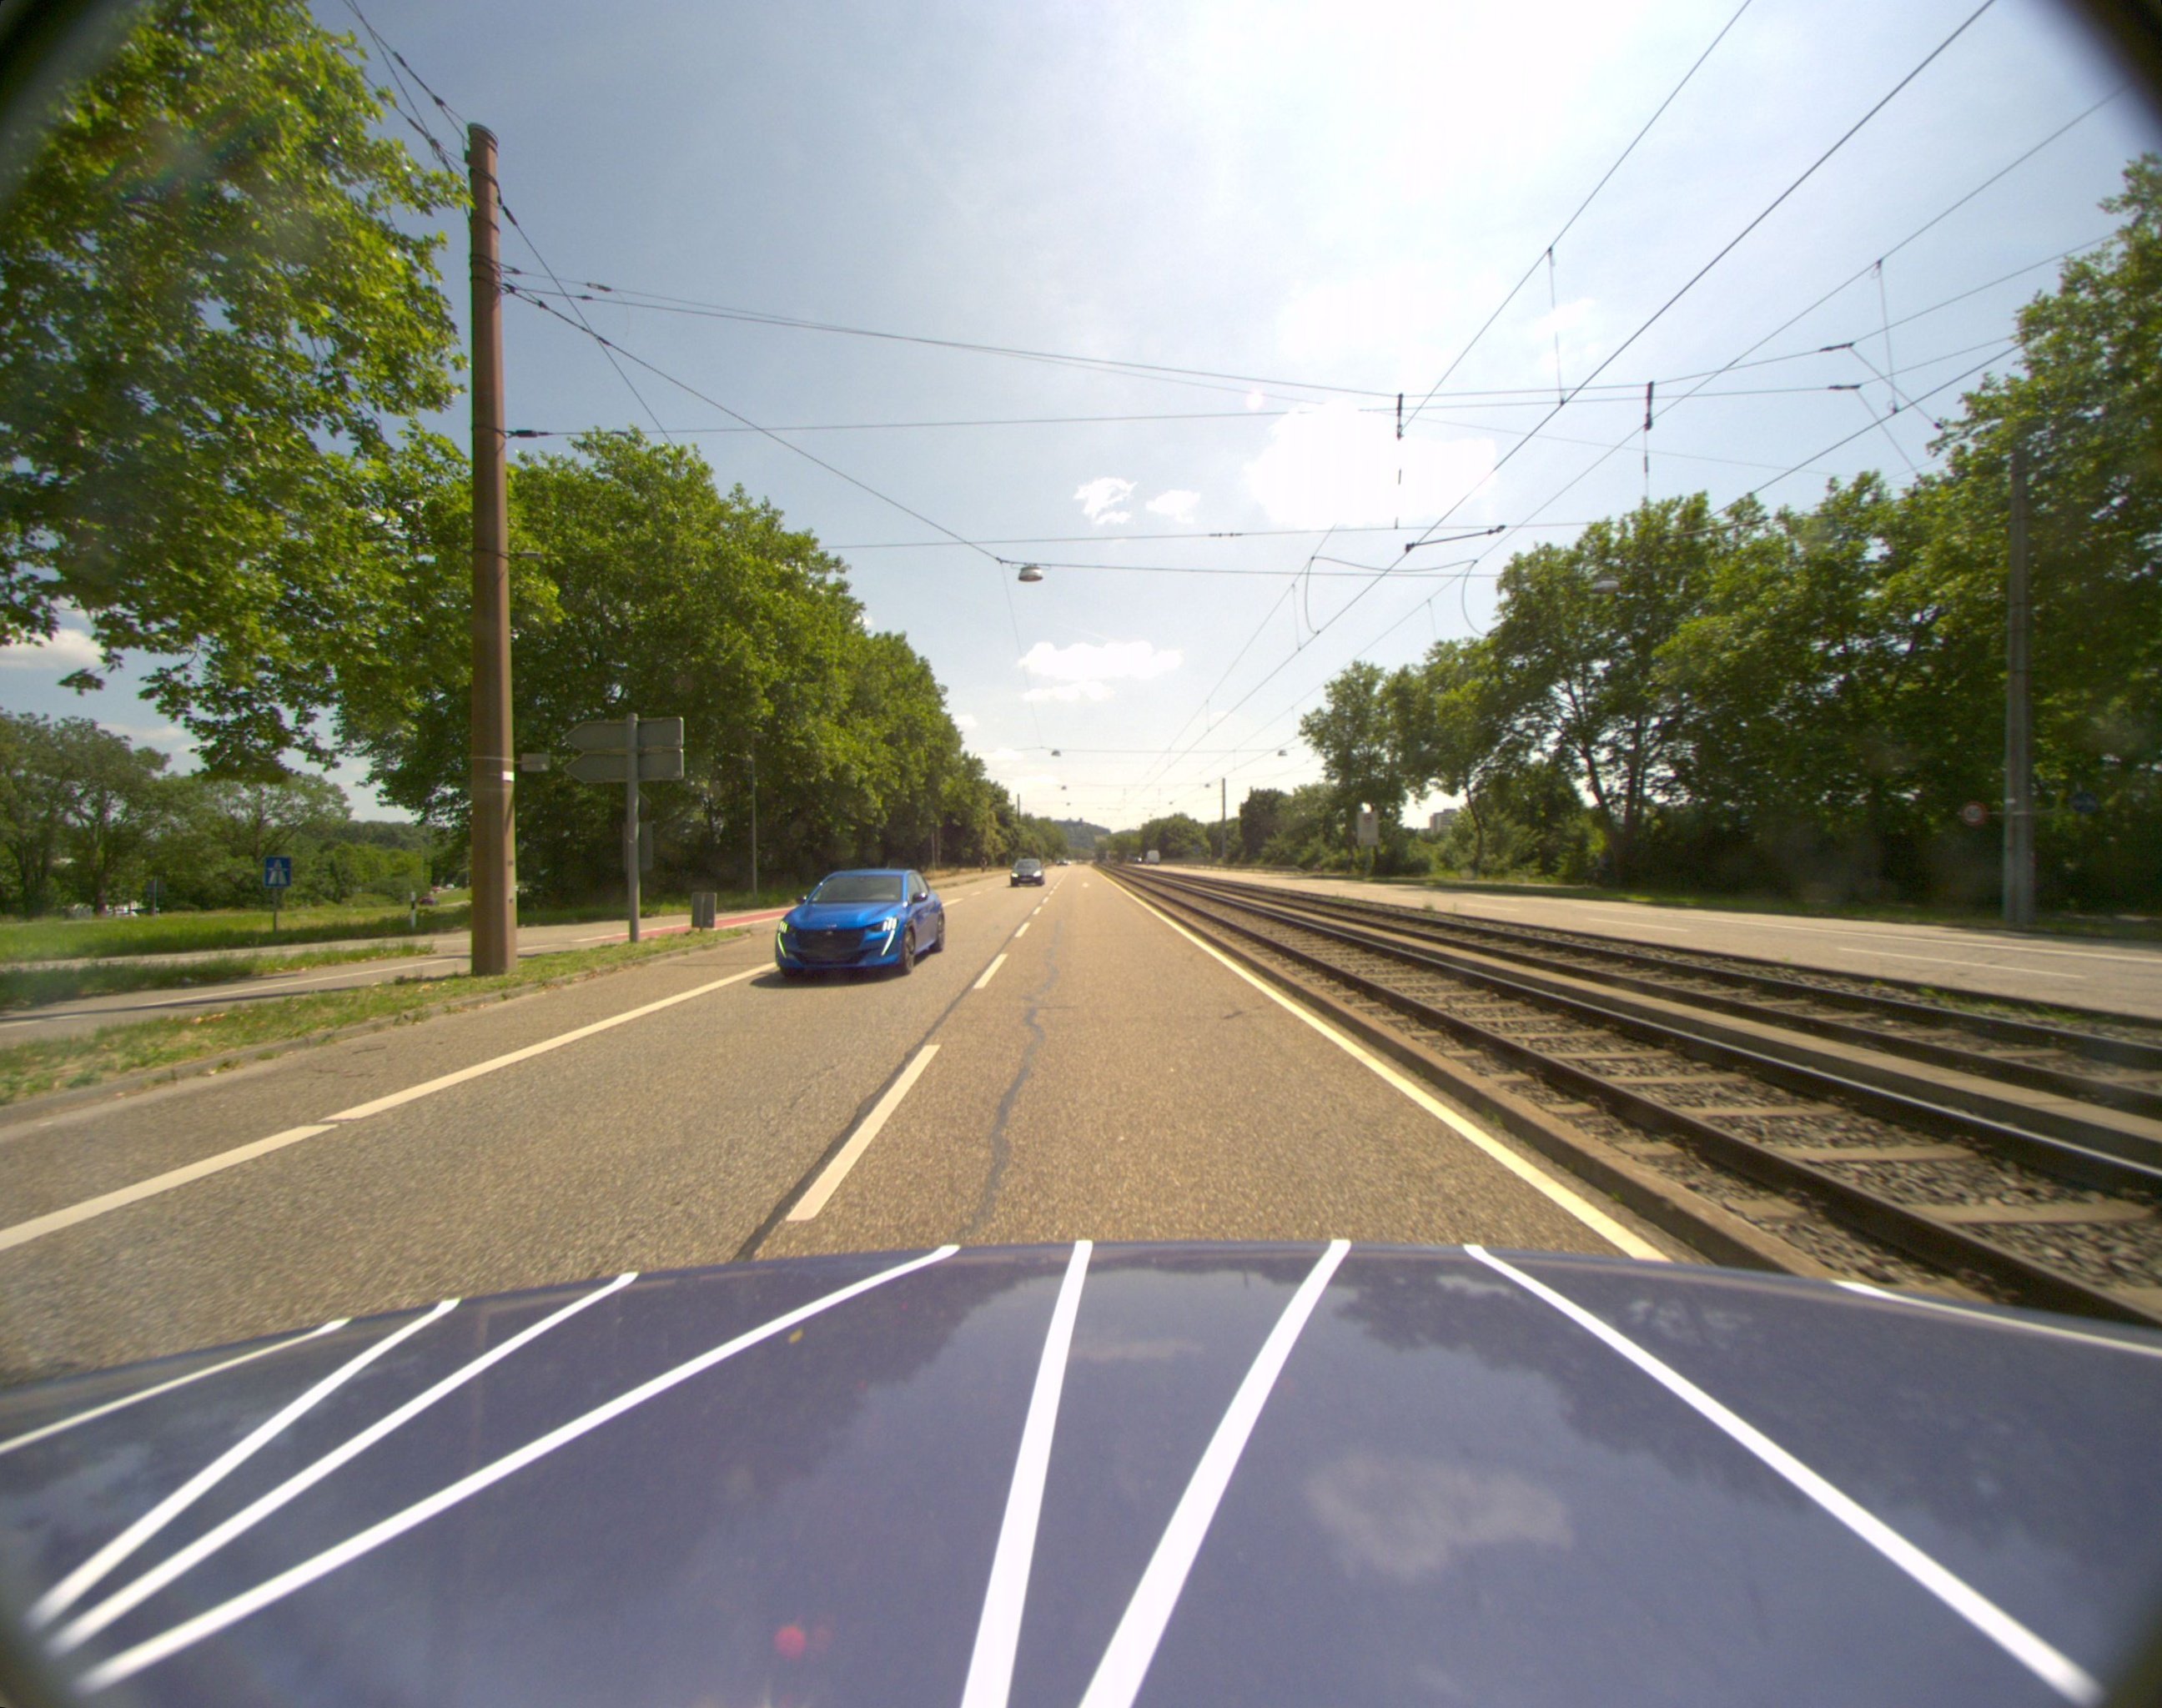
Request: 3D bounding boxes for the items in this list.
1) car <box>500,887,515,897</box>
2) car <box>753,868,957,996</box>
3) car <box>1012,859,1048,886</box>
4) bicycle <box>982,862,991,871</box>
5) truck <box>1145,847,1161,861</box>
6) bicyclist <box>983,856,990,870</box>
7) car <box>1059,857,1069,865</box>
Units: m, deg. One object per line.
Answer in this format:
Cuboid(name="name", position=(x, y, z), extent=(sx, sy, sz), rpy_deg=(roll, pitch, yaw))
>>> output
Cuboid(name="car", position=(-127.323, 8.439, 168.655), extent=(2.003, 2.002, 4.553), rpy_deg=(-1, 0, -28))
Cuboid(name="car", position=(-3.189, 1.015, 11.712), extent=(1.771, 1.463, 4.467), rpy_deg=(-2, 0, 0))
Cuboid(name="car", position=(-2.930, 1.029, 44.045), extent=(1.771, 1.422, 4.000), rpy_deg=(-2, 0, 0))
Cuboid(name="bicycle", position=(-10.007, 1.358, 80.577), extent=(0.607, 0.904, 1.893), rpy_deg=(-1, 0, 1))
Cuboid(name="truck", position=(13.729, -0.040, 145.056), extent=(2.332, 2.566, 6.620), rpy_deg=(-1, 0, -1))
Cuboid(name="bicyclist", position=(-10.011, 0.939, 80.489), extent=(0.607, 1.465, 0.947), rpy_deg=(-1, 0, 1))
Cuboid(name="car", position=(-3.252, 1.280, 145.557), extent=(1.771, 1.422, 4.000), rpy_deg=(-1, 0, 0))
